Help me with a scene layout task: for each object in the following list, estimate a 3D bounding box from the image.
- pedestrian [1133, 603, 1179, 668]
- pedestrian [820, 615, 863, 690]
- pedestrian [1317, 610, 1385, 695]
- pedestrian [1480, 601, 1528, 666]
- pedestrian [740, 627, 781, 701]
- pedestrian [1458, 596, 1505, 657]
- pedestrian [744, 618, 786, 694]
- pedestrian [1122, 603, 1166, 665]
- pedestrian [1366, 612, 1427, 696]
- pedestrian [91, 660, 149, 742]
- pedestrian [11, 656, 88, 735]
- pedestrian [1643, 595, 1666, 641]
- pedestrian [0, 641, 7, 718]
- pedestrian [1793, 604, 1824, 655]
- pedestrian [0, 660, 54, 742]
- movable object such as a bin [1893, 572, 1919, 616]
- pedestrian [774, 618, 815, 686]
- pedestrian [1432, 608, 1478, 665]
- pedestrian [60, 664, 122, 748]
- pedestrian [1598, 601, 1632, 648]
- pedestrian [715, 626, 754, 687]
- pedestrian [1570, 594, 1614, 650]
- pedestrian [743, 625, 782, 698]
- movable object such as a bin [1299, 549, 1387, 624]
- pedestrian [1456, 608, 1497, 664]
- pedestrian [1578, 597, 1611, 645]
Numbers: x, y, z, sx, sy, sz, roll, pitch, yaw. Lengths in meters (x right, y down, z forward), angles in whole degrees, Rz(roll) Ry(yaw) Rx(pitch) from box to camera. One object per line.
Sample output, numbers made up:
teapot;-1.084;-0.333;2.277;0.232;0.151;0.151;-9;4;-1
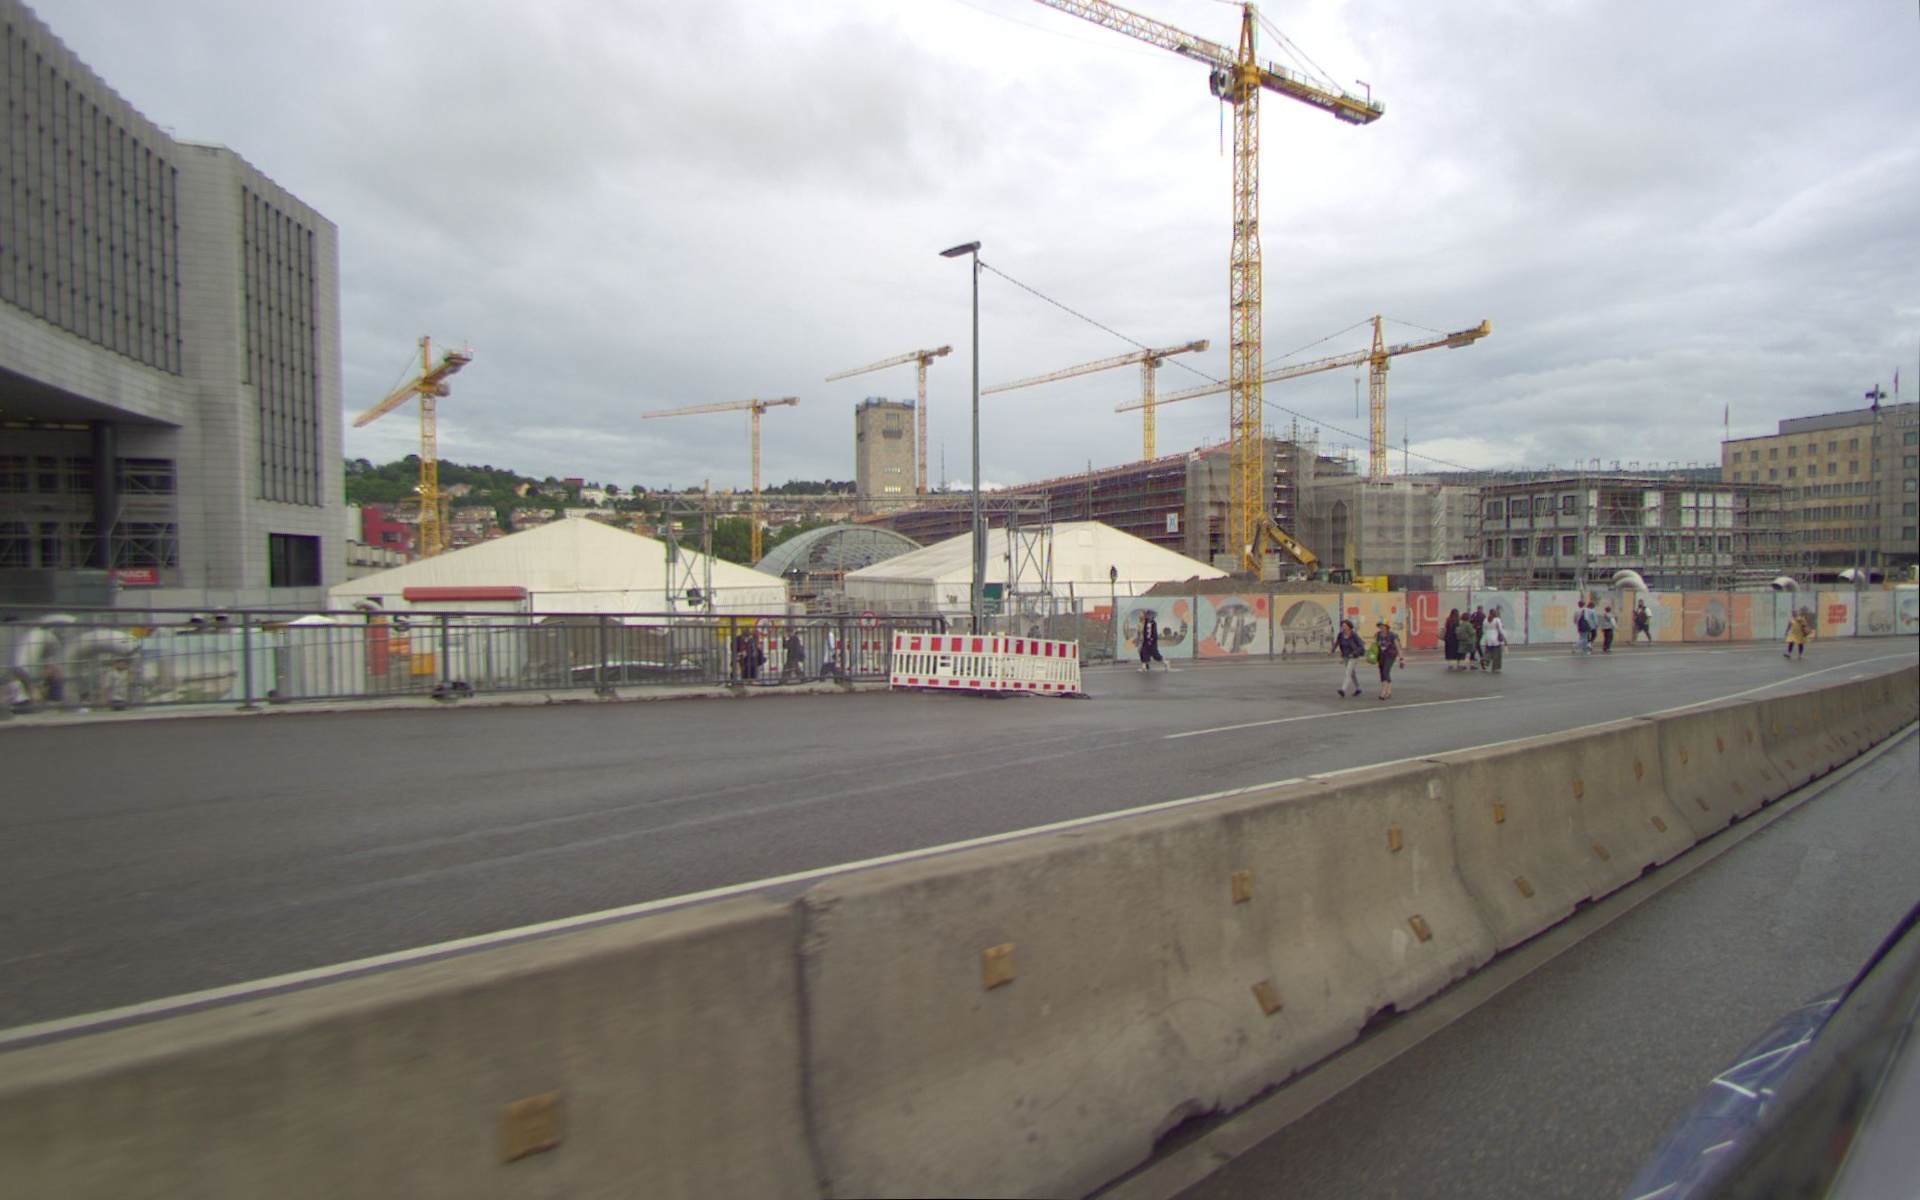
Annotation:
pedestrian;5.419;0.964;27.994;0.987;1.747;0.871;0;1;-13
pedestrian;-2.978;1.299;25.309;0.987;1.803;0.871;0;1;-13
pedestrian;7.875;1.037;20.402;0.932;1.613;0.865;0;1;-14
pedestrian;15.129;0.923;28.163;0.872;1.744;0.781;0;1;-22
pedestrian;-4.644;1.473;23.520;0.897;1.657;0.728;0;1;-12
pedestrian;16.251;0.807;31.550;0.987;1.840;0.871;0;1;-22
pedestrian;-4.825;1.371;25.035;0.987;1.805;0.775;0;1;-13
pedestrian;5.282;0.967;29.112;0.987;1.710;0.871;0;1;-13
pedestrian;8.500;1.030;19.709;0.788;1.595;0.735;0;-1;-14
pedestrian;-17.863;2.132;21.534;0.739;1.657;0.586;0;1;7
pedestrian;-20.628;2.141;22.955;0.987;1.657;0.871;0;1;-13
pedestrian;26.633;0.681;38.812;0.485;1.770;0.569;0;1;-23
pedestrian;-23.506;1.921;24.263;0.633;1.838;0.752;0;1;18
pedestrian;28.489;0.966;33.982;0.892;1.653;0.648;-1;1;-41
pedestrian;-20.504;2.182;21.924;0.987;1.657;0.871;0;1;-13
movable object such as a bin;57.124;-0.351;58.556;4.067;2.567;1.992;0;1;14
pedestrian;-4.275;1.324;26.046;0.987;1.657;0.871;0;1;-13
pedestrian;14.340;1.038;29.303;0.987;1.572;0.718;0;1;-22
pedestrian;-17.926;2.171;20.880;0.758;1.657;0.603;0;1;7
pedestrian;22.795;0.846;35.221;0.750;1.572;0.650;0;1;-5
pedestrian;-6.098;1.507;27.378;0.987;1.572;0.871;0;1;-13
pedestrian;21.239;0.727;34.019;0.913;1.872;0.821;0;1;-5
pedestrian;-4.735;1.458;24.268;0.897;1.657;0.701;0;1;-12
movable object such as a bin;18.464;-0.666;48.736;4.150;3.451;1.944;-1;1;-35
pedestrian;14.633;1.011;28.677;0.867;1.541;0.612;0;1;-22
pedestrian;22.542;0.743;35.954;0.750;1.676;0.650;0;1;-5
